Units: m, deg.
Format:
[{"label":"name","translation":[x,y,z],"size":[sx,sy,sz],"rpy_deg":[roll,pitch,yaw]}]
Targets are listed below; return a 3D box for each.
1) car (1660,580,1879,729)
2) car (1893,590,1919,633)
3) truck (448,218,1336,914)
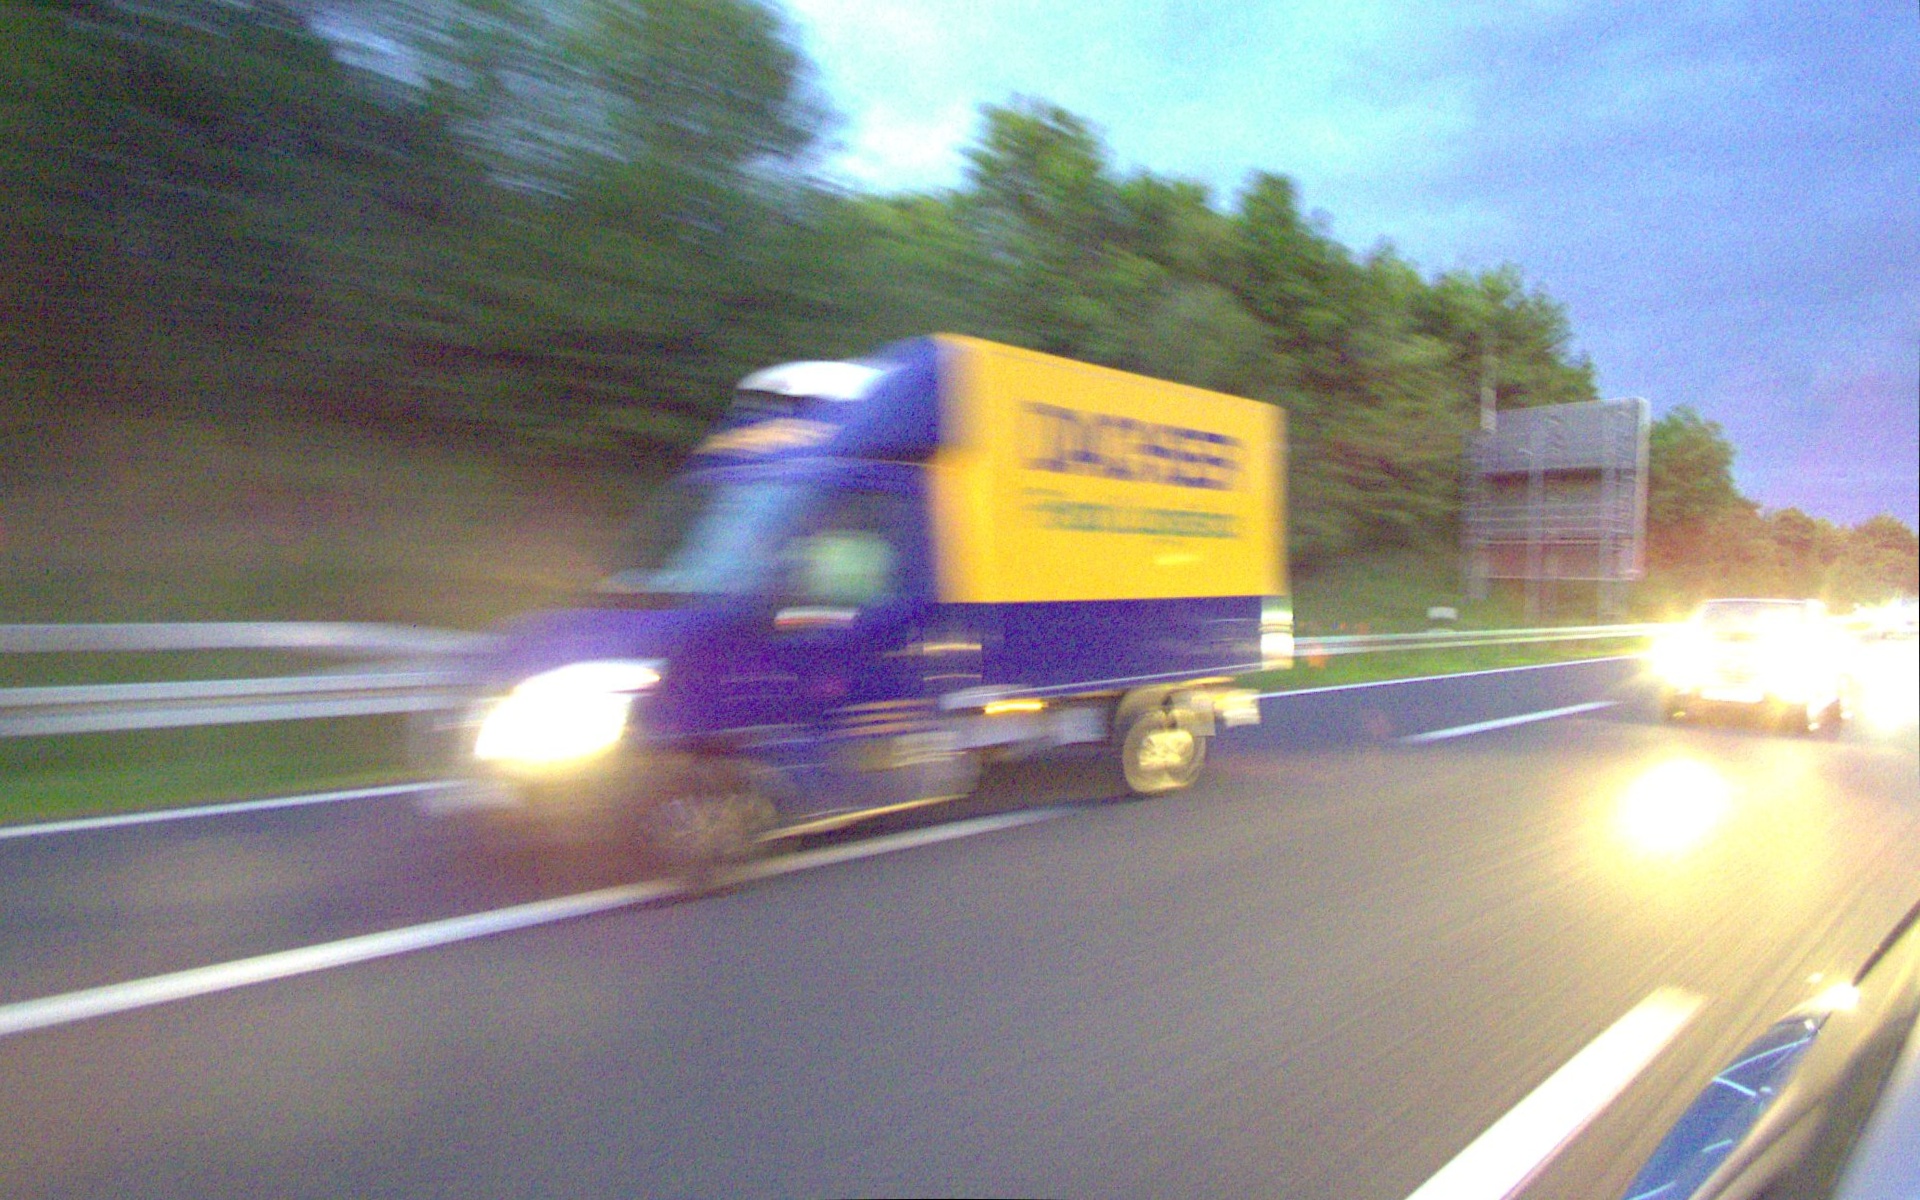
[{"label":"car","translation":[10.248,0.566,12.745],"size":[3.262,1.574,1.613],"rpy_deg":[-1,3,-42]},{"label":"car","translation":[39.450,0.473,41.045],"size":[5.071,1.665,1.802],"rpy_deg":[0,4,-42]},{"label":"truck","translation":[0.093,-0.157,7.420],"size":[6.518,3.009,2.271],"rpy_deg":[0,0,-42]}]
